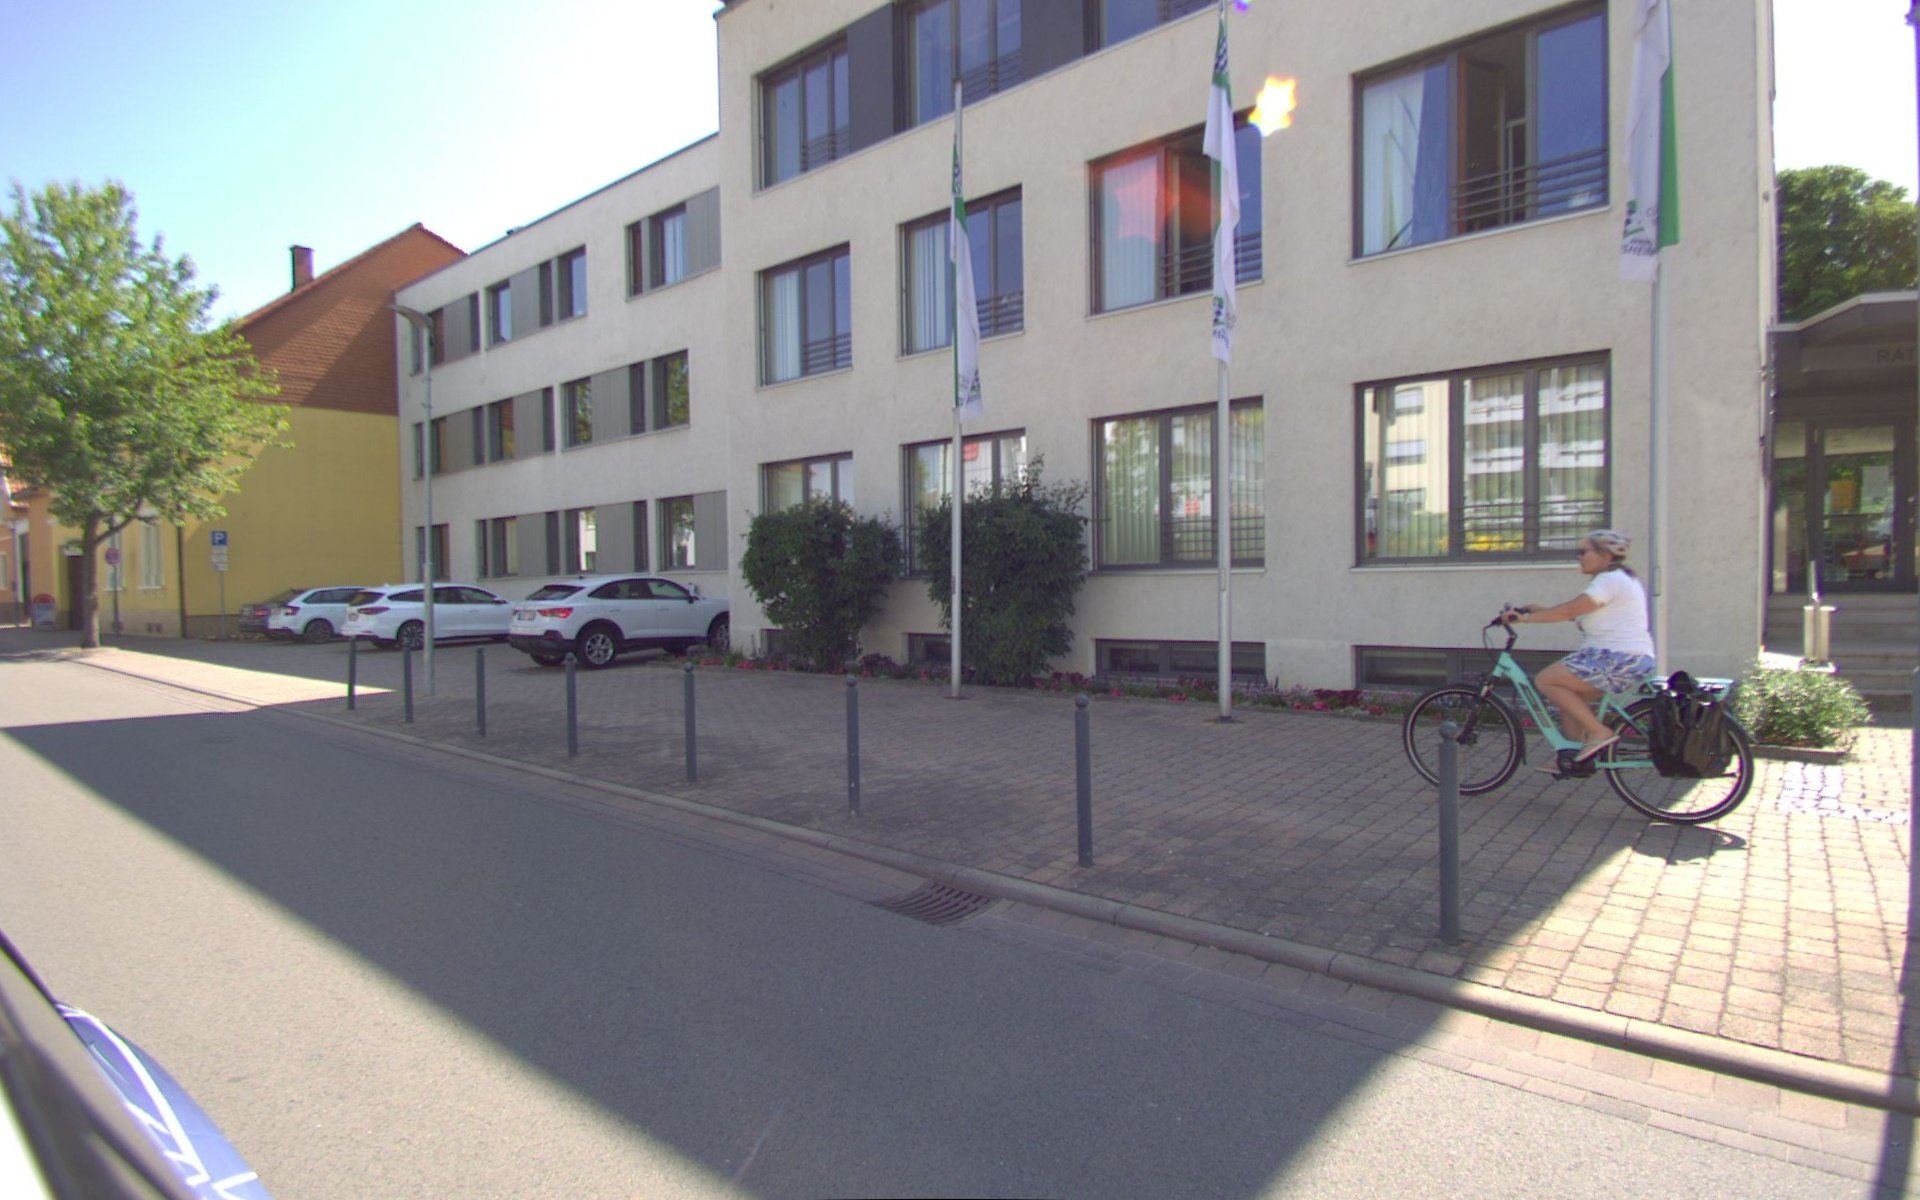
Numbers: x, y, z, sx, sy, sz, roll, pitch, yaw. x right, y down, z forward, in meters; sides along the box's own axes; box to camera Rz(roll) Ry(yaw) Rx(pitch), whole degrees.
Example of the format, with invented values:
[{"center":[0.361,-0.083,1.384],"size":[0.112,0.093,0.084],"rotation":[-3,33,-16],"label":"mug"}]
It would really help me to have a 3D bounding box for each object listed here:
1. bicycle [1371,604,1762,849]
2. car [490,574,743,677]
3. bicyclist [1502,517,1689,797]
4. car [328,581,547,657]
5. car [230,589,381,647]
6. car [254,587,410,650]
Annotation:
[{"center":[3.644,0.669,6.192],"size":[1.970,1.261,0.701],"rotation":[0,1,39],"label":"bicycle"},{"center":[-6.037,0.368,18.151],"size":[1.747,1.559,3.948],"rotation":[0,2,39],"label":"car"},{"center":[3.793,0.306,6.038],"size":[0.870,1.518,0.707],"rotation":[0,0,38],"label":"bicyclist"},{"center":[-12.136,0.382,23.733],"size":[1.512,1.489,4.269],"rotation":[0,3,41],"label":"car"},{"center":[-18.120,0.470,28.115],"size":[1.373,1.412,3.218],"rotation":[0,2,39],"label":"car"},{"center":[-16.478,0.448,26.636],"size":[1.642,1.461,3.099],"rotation":[0,2,41],"label":"car"}]
